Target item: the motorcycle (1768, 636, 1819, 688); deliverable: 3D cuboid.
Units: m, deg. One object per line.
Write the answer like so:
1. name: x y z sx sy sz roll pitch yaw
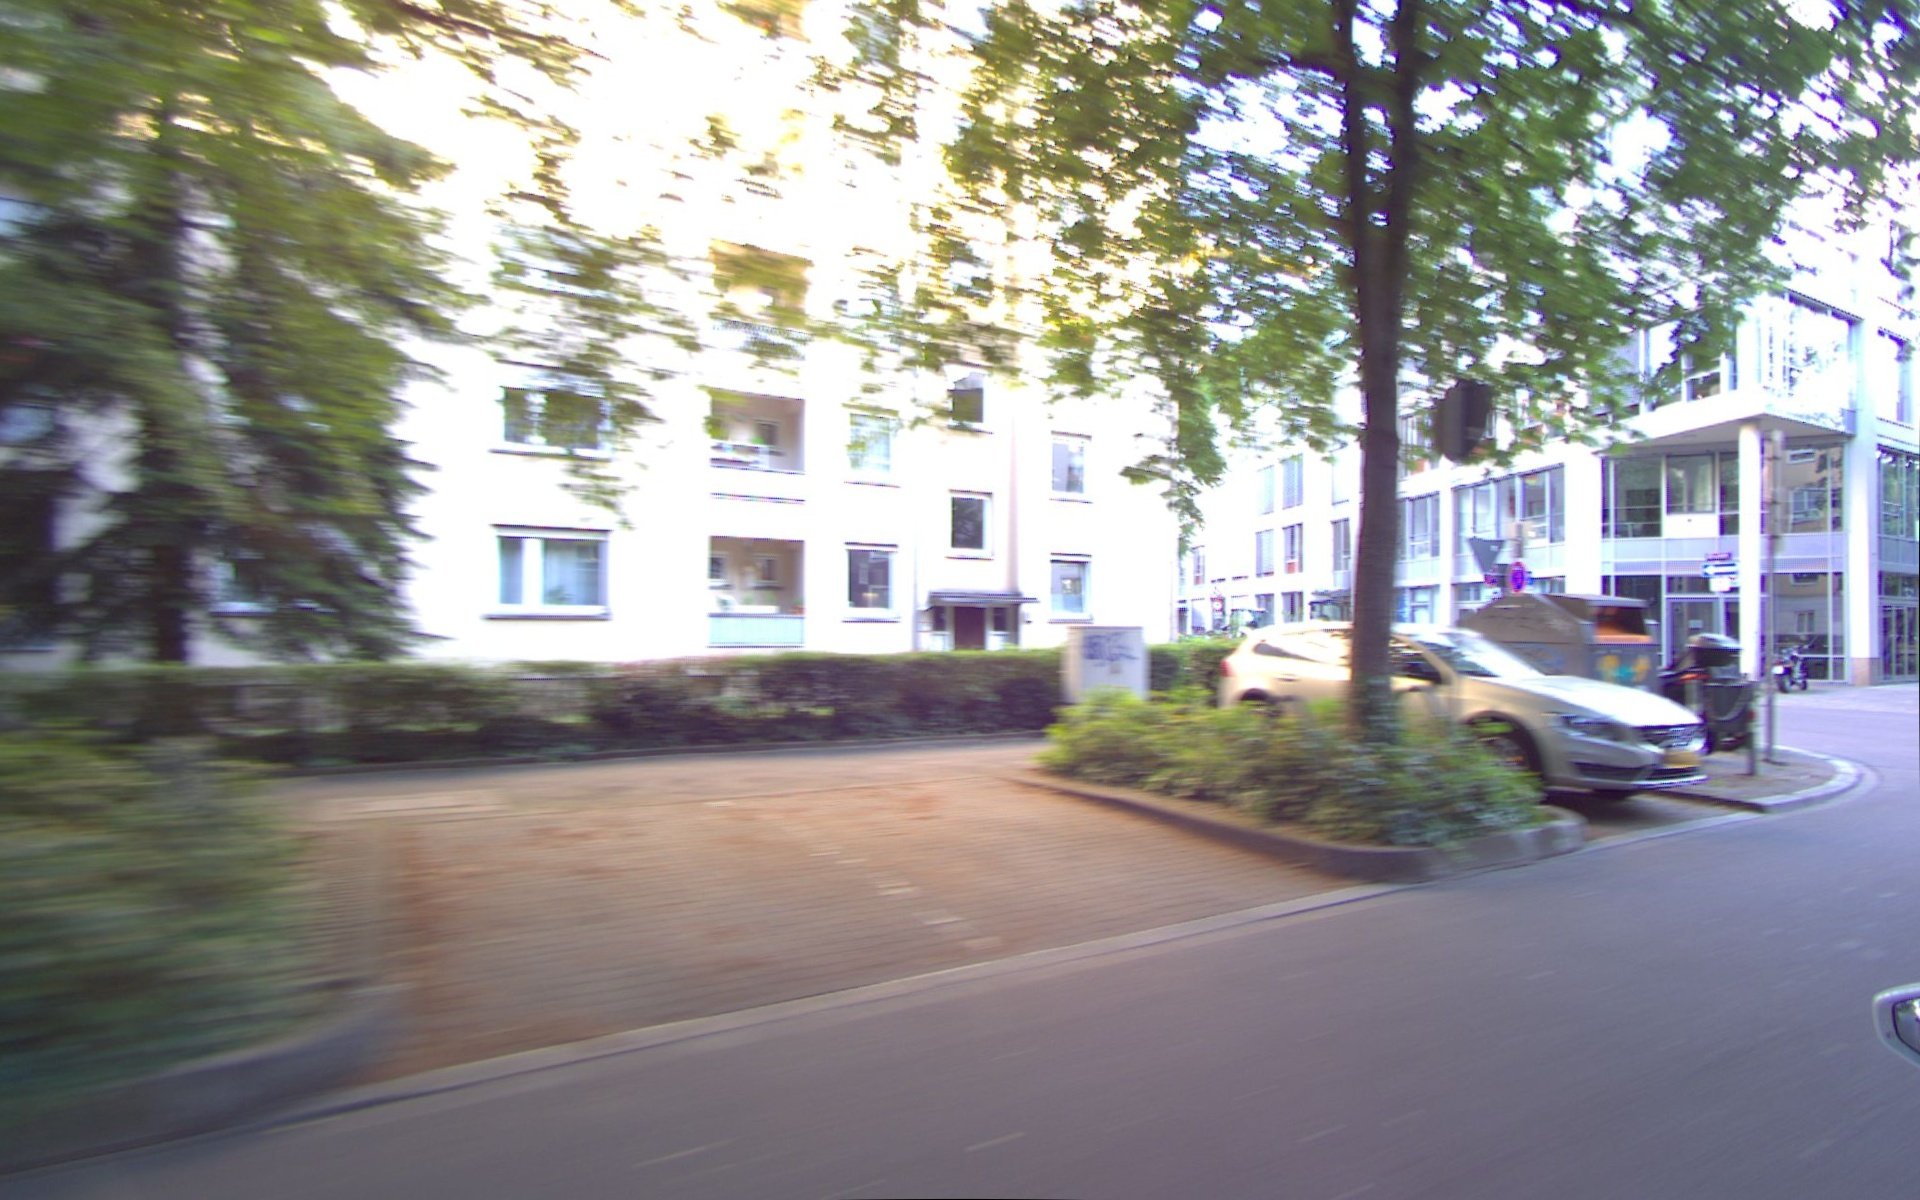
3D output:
1. motorcycle: 20.494 1.495 24.683 2.289 1.187 0.551 1 -1 -40

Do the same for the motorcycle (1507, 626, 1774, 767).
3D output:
1. motorcycle: 7.773 1.032 11.655 0.899 1.439 2.443 1 -2 -27

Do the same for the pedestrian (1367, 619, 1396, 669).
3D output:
1. pedestrian: 15.895 1.643 37.914 0.872 1.875 0.876 0 -1 14

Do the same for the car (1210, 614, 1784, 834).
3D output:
1. car: 4.768 0.940 9.755 2.049 1.573 4.602 1 -1 -27

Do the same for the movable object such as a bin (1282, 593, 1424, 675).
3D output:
1. movable object such as a bin: 14.072 1.211 36.449 2.243 2.728 5.640 0 -1 -9

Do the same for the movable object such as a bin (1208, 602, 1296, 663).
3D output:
1. movable object such as a bin: 13.001 1.431 44.974 2.243 2.574 4.092 0 -1 -9

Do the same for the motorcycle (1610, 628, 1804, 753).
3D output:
1. motorcycle: 9.450 1.088 12.856 0.835 1.439 2.255 0 -1 1
